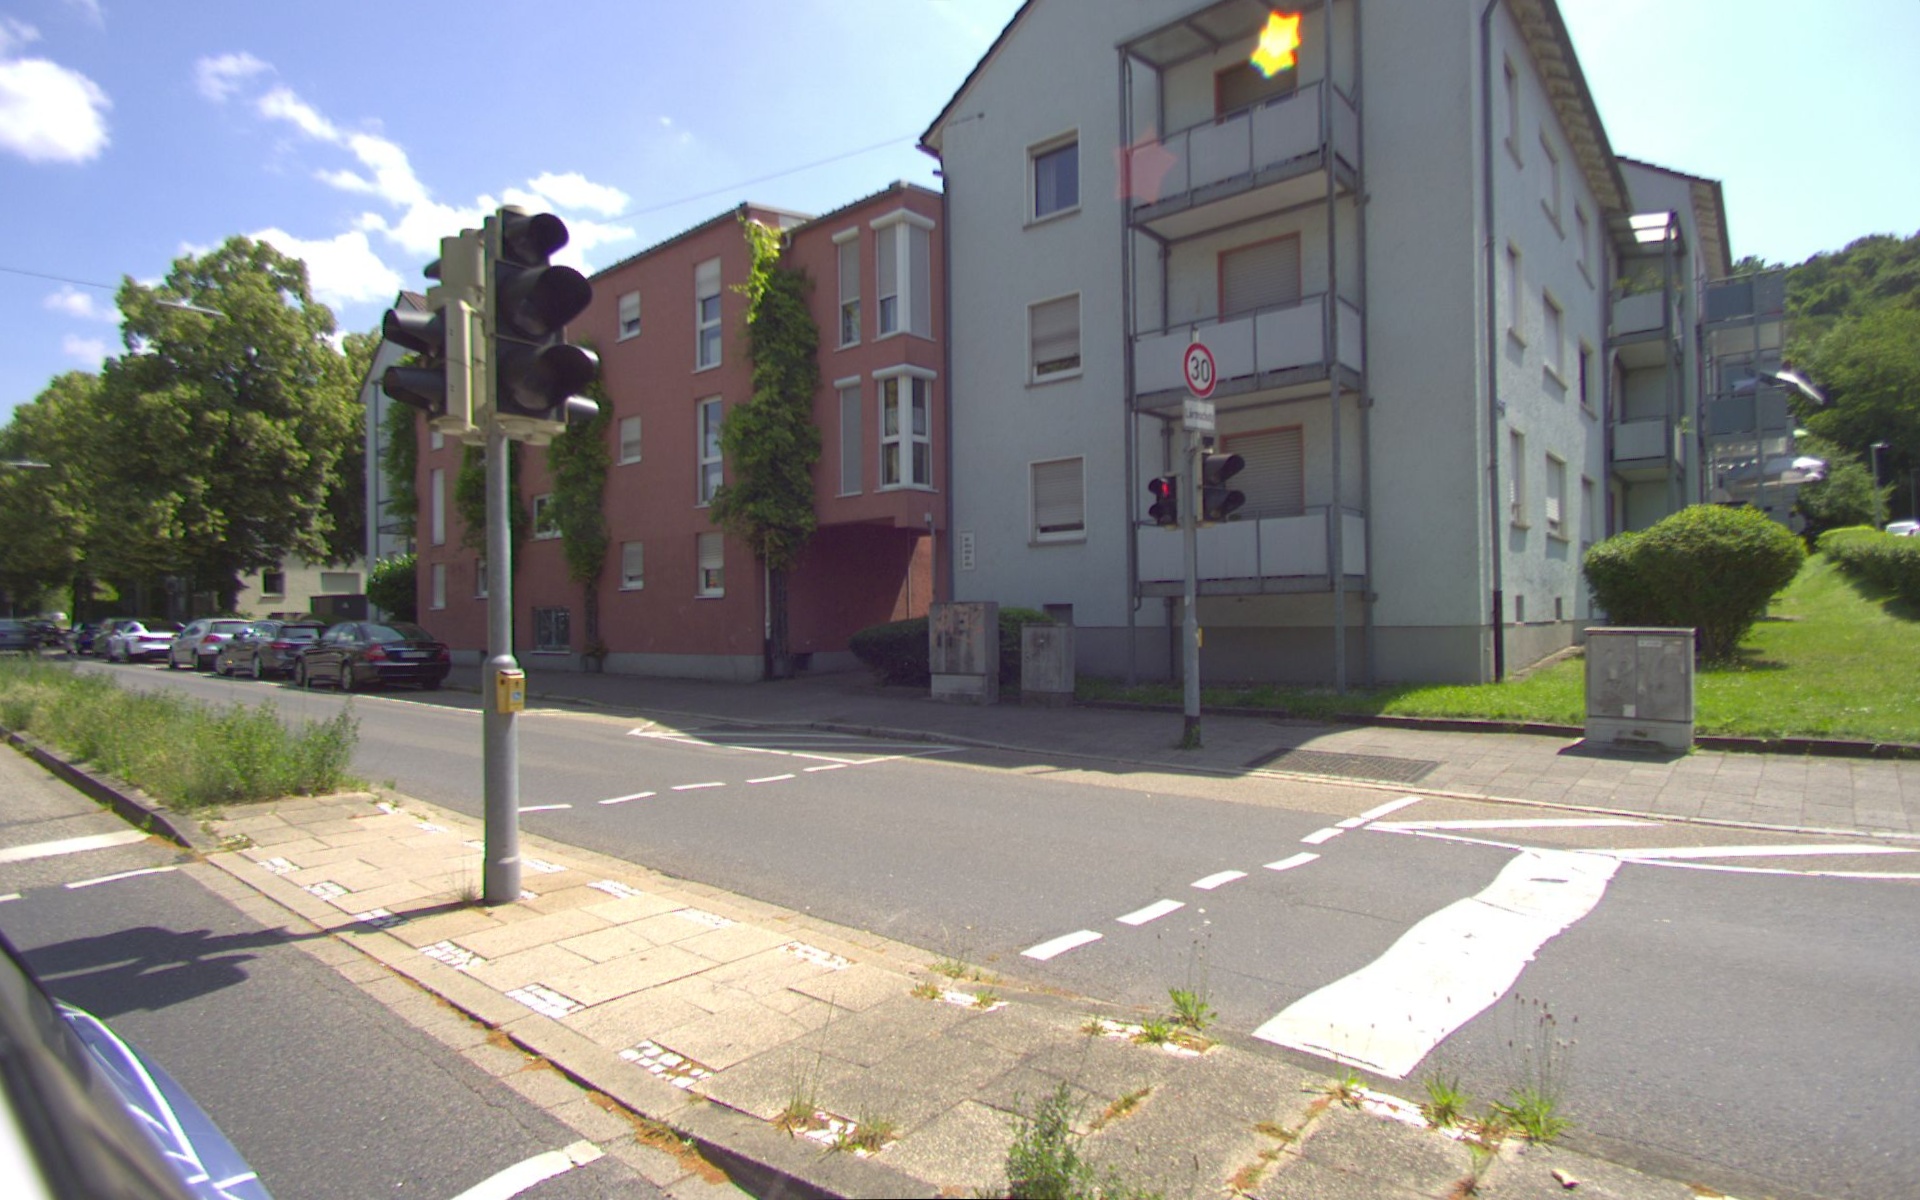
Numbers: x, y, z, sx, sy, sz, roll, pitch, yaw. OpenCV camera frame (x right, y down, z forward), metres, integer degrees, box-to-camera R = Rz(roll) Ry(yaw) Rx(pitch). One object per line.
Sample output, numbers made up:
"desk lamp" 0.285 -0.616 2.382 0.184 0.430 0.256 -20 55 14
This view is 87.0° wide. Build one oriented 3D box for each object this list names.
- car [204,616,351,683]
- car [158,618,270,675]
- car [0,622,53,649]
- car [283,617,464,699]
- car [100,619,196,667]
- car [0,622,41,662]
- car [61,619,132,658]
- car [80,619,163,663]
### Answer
"car" -17.447 1.216 25.795 4.563 1.551 1.867 -1 -1 39
"car" -22.029 1.331 29.854 3.996 1.519 1.730 -1 0 39
"car" -49.567 1.853 53.588 3.604 1.343 1.736 -1 0 39
"car" -12.618 1.168 21.662 4.563 1.551 1.867 -1 -1 39
"car" -27.448 1.414 34.168 3.996 1.453 1.730 -1 0 39
"car" -38.581 1.681 40.797 3.996 1.519 1.730 -1 0 39
"car" -35.984 1.576 42.159 3.996 1.519 1.552 -1 0 39
"car" -32.115 1.535 38.737 3.996 1.519 1.730 -1 0 39
